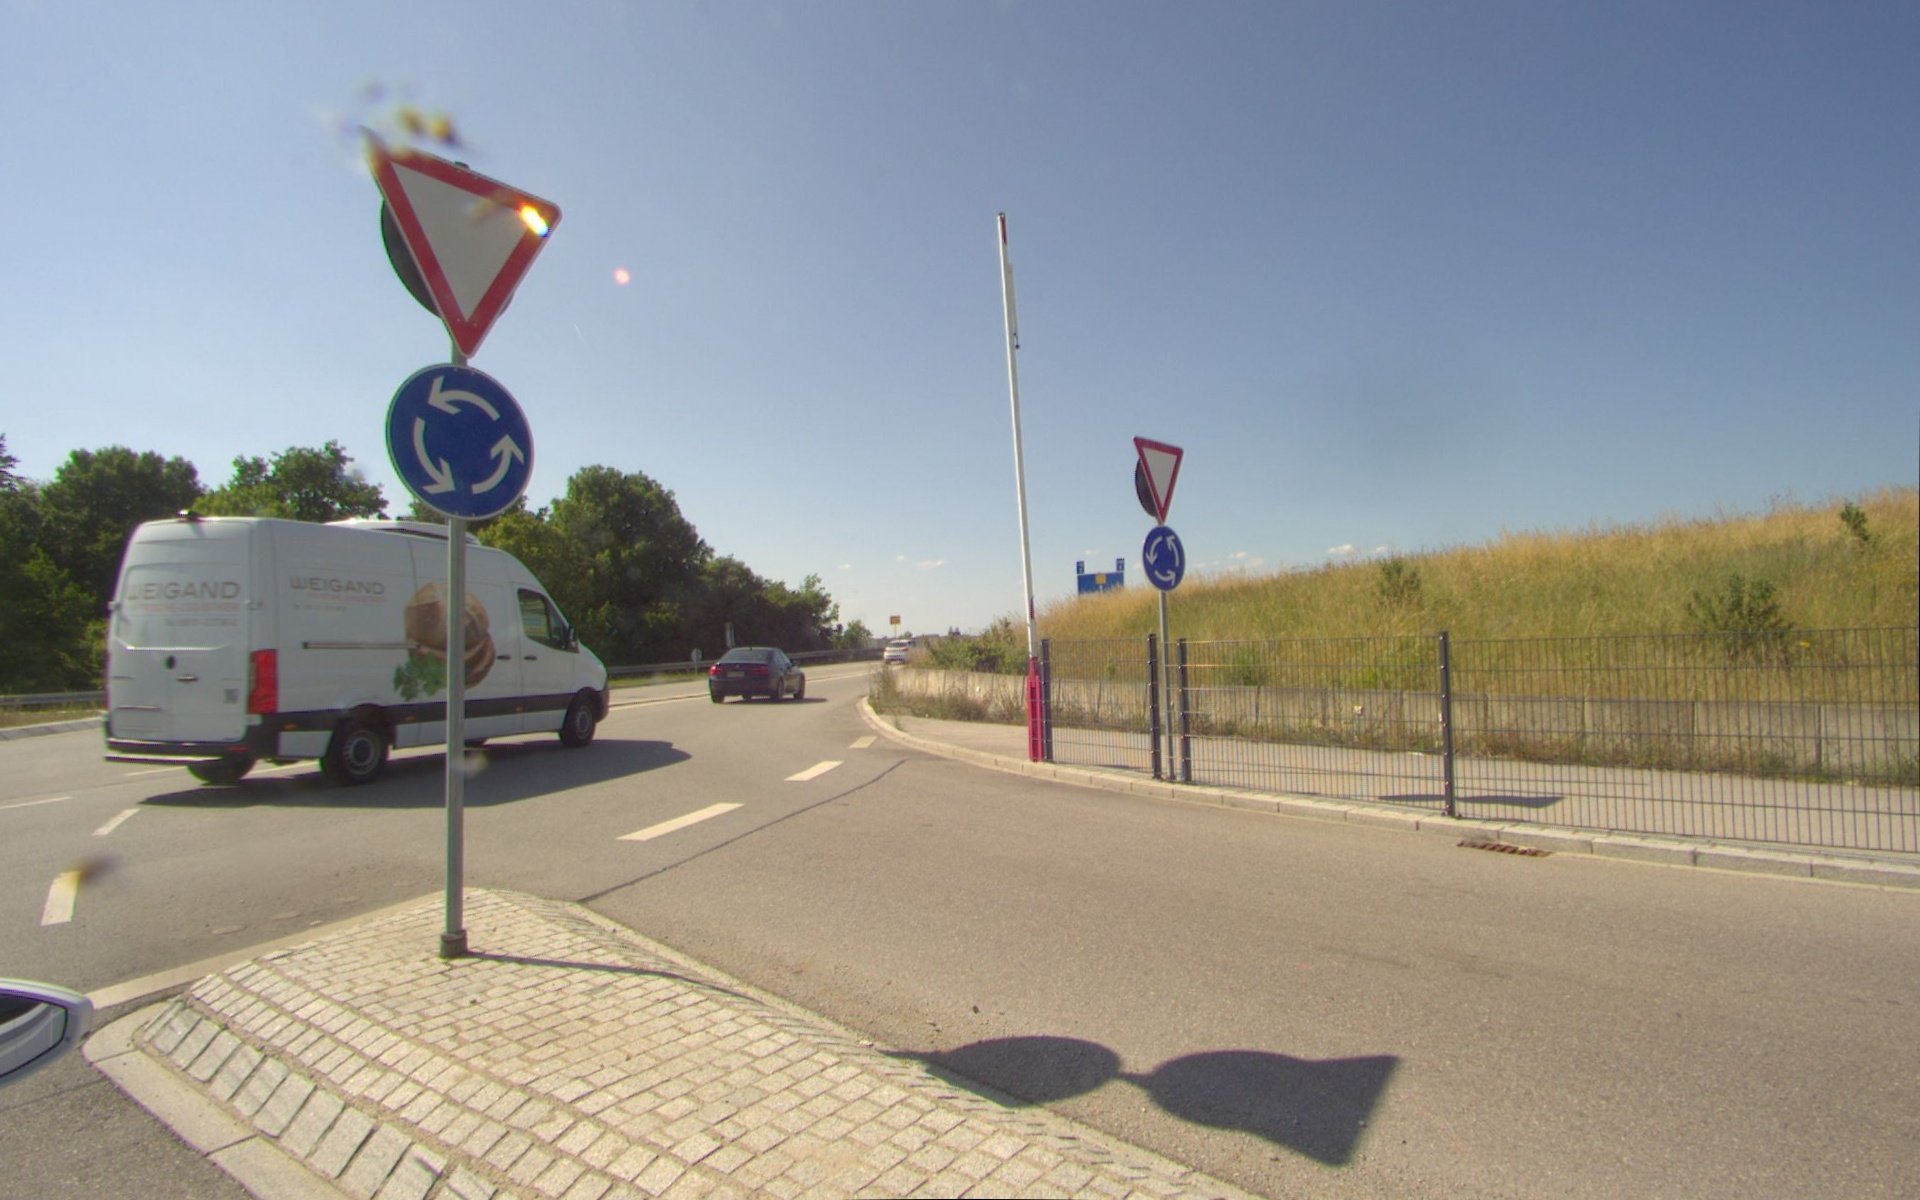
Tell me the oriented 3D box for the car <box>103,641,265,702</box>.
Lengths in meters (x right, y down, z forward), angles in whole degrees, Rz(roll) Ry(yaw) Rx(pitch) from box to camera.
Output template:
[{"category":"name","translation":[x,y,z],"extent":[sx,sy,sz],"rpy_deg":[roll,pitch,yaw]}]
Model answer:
[{"category":"car","translation":[-21.998,1.990,28.376],"extent":[4.254,1.616,1.843],"rpy_deg":[-2,-3,24]}]

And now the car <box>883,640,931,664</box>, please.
[{"category":"car","translation":[-3.214,3.174,61.426],"extent":[1.758,1.422,4.415],"rpy_deg":[-1,-3,14]}]

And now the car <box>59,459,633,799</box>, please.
[{"category":"car","translation":[-6.539,0.397,11.946],"extent":[2.046,2.957,6.136],"rpy_deg":[-1,-3,15]}]

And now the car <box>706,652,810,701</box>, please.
[{"category":"car","translation":[-5.328,2.001,26.832],"extent":[1.644,1.197,3.867],"rpy_deg":[-1,-3,6]}]
